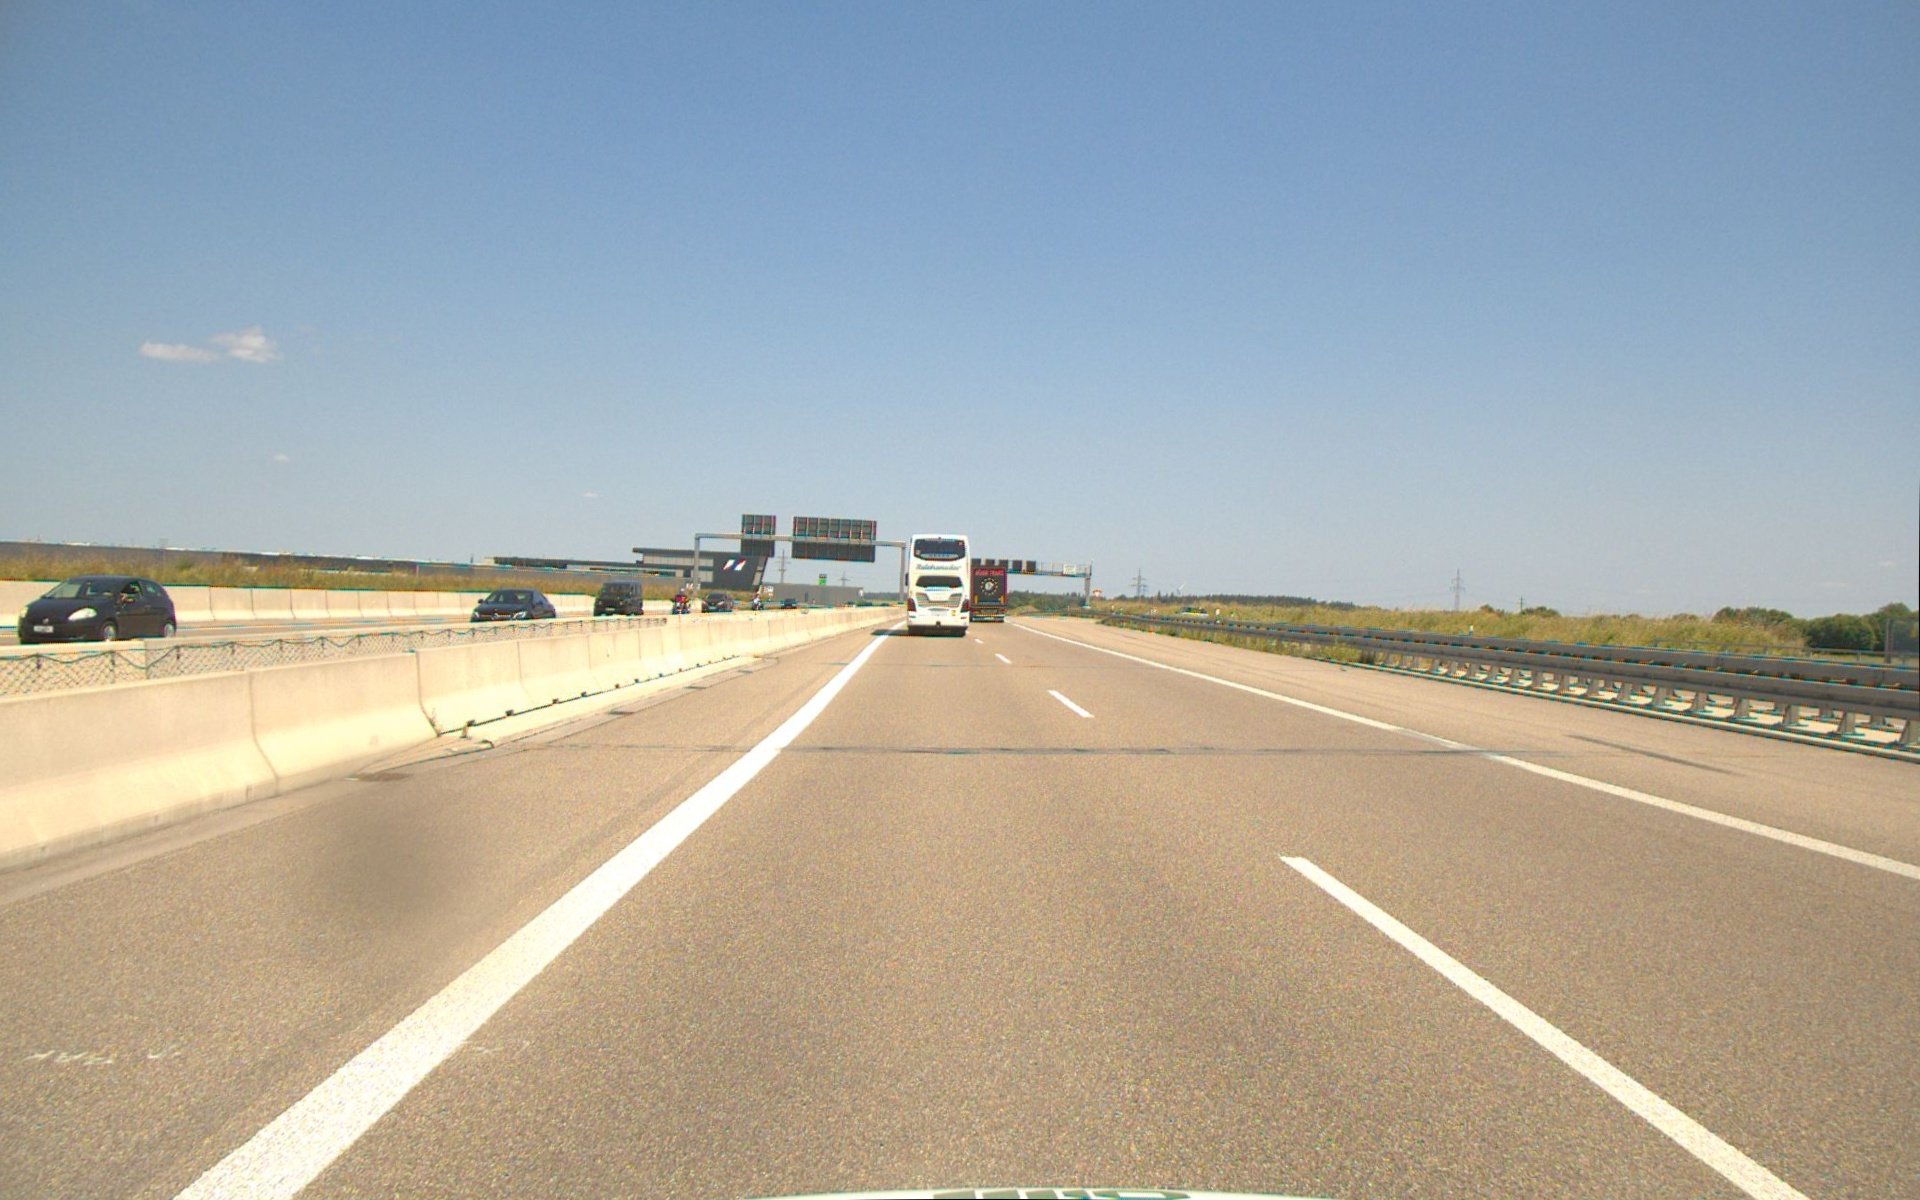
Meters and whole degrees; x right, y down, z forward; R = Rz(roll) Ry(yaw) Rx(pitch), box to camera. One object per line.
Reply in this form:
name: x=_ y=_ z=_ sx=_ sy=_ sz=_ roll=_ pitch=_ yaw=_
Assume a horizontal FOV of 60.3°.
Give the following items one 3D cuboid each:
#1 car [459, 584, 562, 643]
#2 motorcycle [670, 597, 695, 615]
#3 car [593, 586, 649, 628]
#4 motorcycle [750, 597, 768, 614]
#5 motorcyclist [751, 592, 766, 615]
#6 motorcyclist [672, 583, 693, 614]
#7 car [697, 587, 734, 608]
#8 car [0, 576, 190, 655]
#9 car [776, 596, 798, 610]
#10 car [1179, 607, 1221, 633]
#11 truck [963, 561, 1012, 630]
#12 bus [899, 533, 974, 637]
car: x=-13.847 y=0.395 z=51.254 sx=1.953 sy=1.698 sz=4.648 roll=1 pitch=0 yaw=-1
motorcycle: x=-14.010 y=0.292 z=83.675 sx=0.760 sy=0.918 sz=2.705 roll=1 pitch=0 yaw=1
car: x=-17.474 y=0.348 z=85.448 sx=1.846 sy=2.053 sz=4.735 roll=1 pitch=0 yaw=0
motorcycle: x=-14.259 y=0.397 z=117.166 sx=0.938 sy=1.189 sz=2.722 roll=1 pitch=0 yaw=0
motorcyclist: x=-14.253 y=0.254 z=117.072 sx=0.901 sy=1.650 sz=1.088 roll=1 pitch=0 yaw=0
motorcyclist: x=-14.004 y=-0.091 z=83.412 sx=0.899 sy=1.523 sz=0.923 roll=1 pitch=0 yaw=0
car: x=-18.182 y=-0.186 z=123.130 sx=1.830 sy=1.517 sz=5.139 roll=0 pitch=0 yaw=2
car: x=-17.659 y=0.288 z=33.844 sx=1.871 sy=1.484 sz=4.283 roll=1 pitch=0 yaw=-2
car: x=-18.418 y=0.301 z=175.984 sx=1.953 sy=1.403 sz=4.362 roll=1 pitch=0 yaw=-2
car: x=15.069 y=1.234 z=104.015 sx=1.853 sy=1.556 sz=4.260 roll=1 pitch=0 yaw=-2
truck: x=2.111 y=-0.197 z=122.080 sx=3.310 sy=4.542 sz=13.567 roll=2 pitch=-2 yaw=1
bus: x=-1.062 y=-0.646 z=70.028 sx=2.920 sy=4.044 sz=9.102 roll=1 pitch=1 yaw=-2
